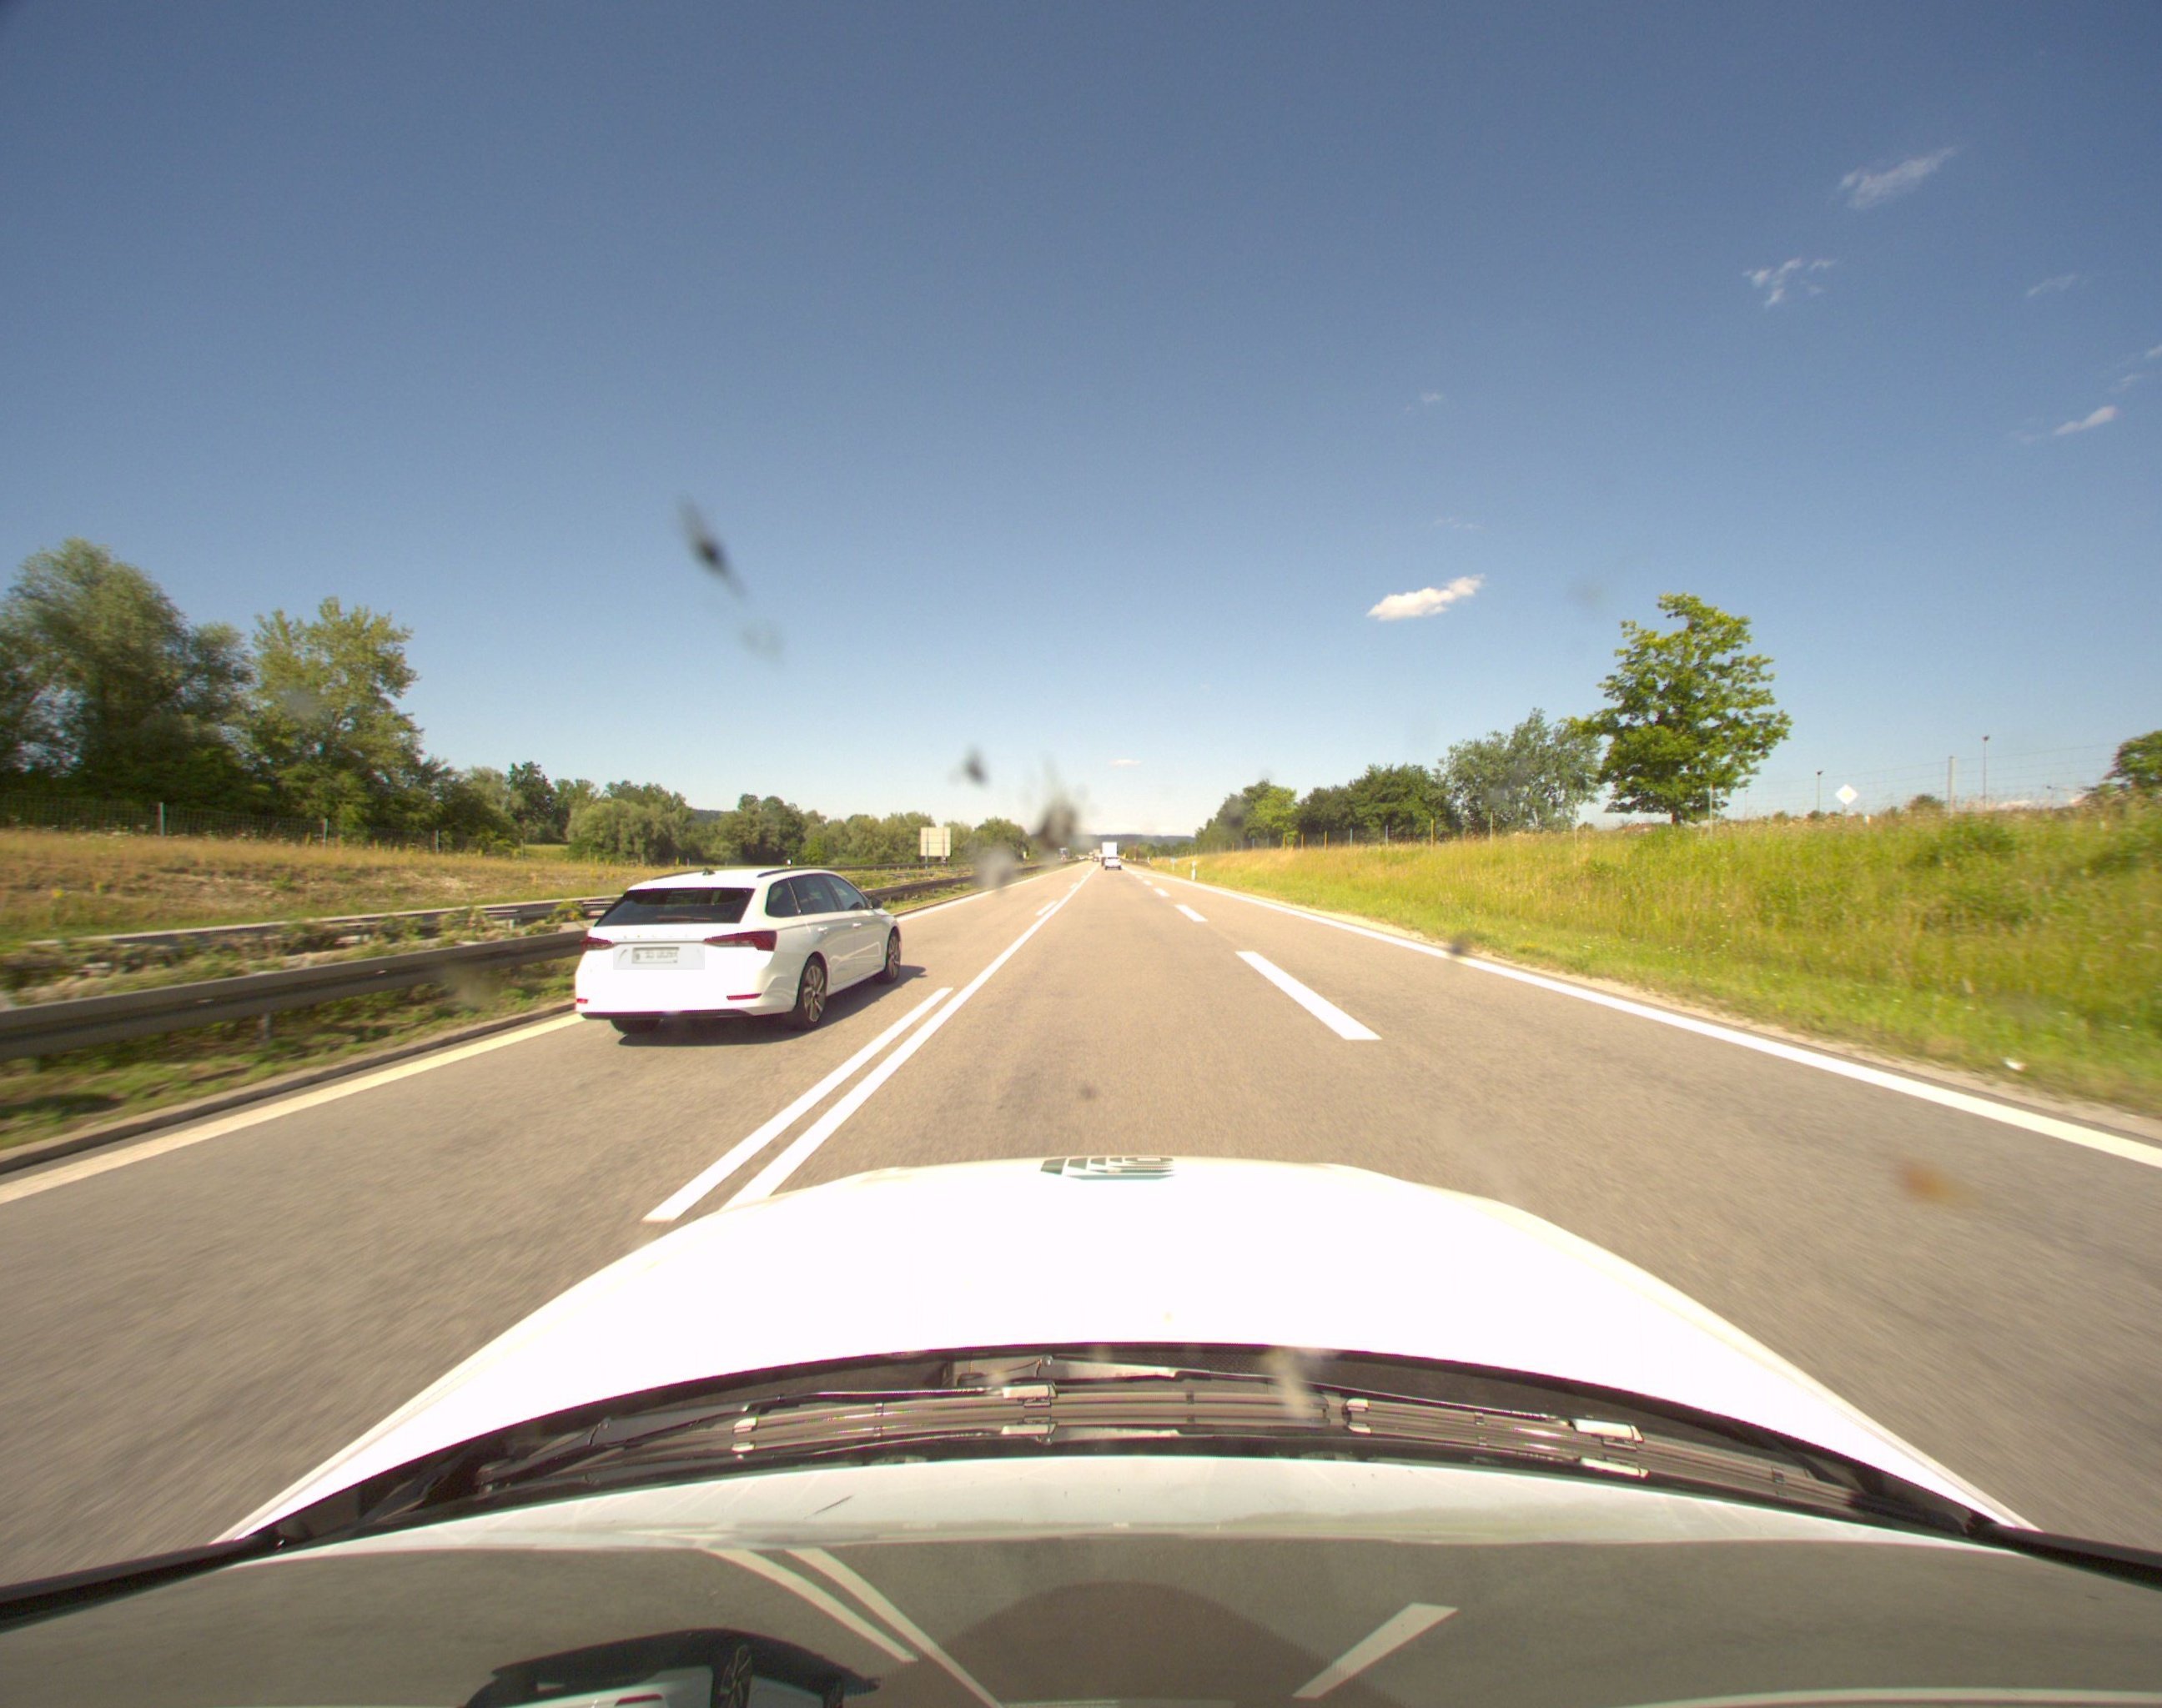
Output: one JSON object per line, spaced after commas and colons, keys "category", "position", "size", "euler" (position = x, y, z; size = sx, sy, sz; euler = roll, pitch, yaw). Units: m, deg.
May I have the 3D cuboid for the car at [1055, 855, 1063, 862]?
{"category": "car", "position": [-6.147, 1.244, 227.936], "size": [1.842, 1.803, 4.873], "euler": [-2, 1, 2]}

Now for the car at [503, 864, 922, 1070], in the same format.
{"category": "car", "position": [-3.207, 0.859, 8.570], "size": [1.833, 1.421, 5.257], "euler": [-1, 0, 2]}

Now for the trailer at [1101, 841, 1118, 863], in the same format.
{"category": "trailer", "position": [5.370, -0.325, 150.483], "size": [2.807, 3.966, 14.169], "euler": [-1, 0, 3]}

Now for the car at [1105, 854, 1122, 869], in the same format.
{"category": "car", "position": [3.533, 0.802, 88.871], "size": [1.678, 1.496, 4.989], "euler": [3, 1, 2]}

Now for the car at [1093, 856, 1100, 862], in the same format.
{"category": "car", "position": [4.353, 1.355, 223.576], "size": [1.764, 1.421, 4.497], "euler": [1, 0, 2]}

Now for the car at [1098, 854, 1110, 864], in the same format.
{"category": "car", "position": [3.503, 0.782, 121.735], "size": [1.659, 1.454, 4.546], "euler": [2, 0, 2]}
